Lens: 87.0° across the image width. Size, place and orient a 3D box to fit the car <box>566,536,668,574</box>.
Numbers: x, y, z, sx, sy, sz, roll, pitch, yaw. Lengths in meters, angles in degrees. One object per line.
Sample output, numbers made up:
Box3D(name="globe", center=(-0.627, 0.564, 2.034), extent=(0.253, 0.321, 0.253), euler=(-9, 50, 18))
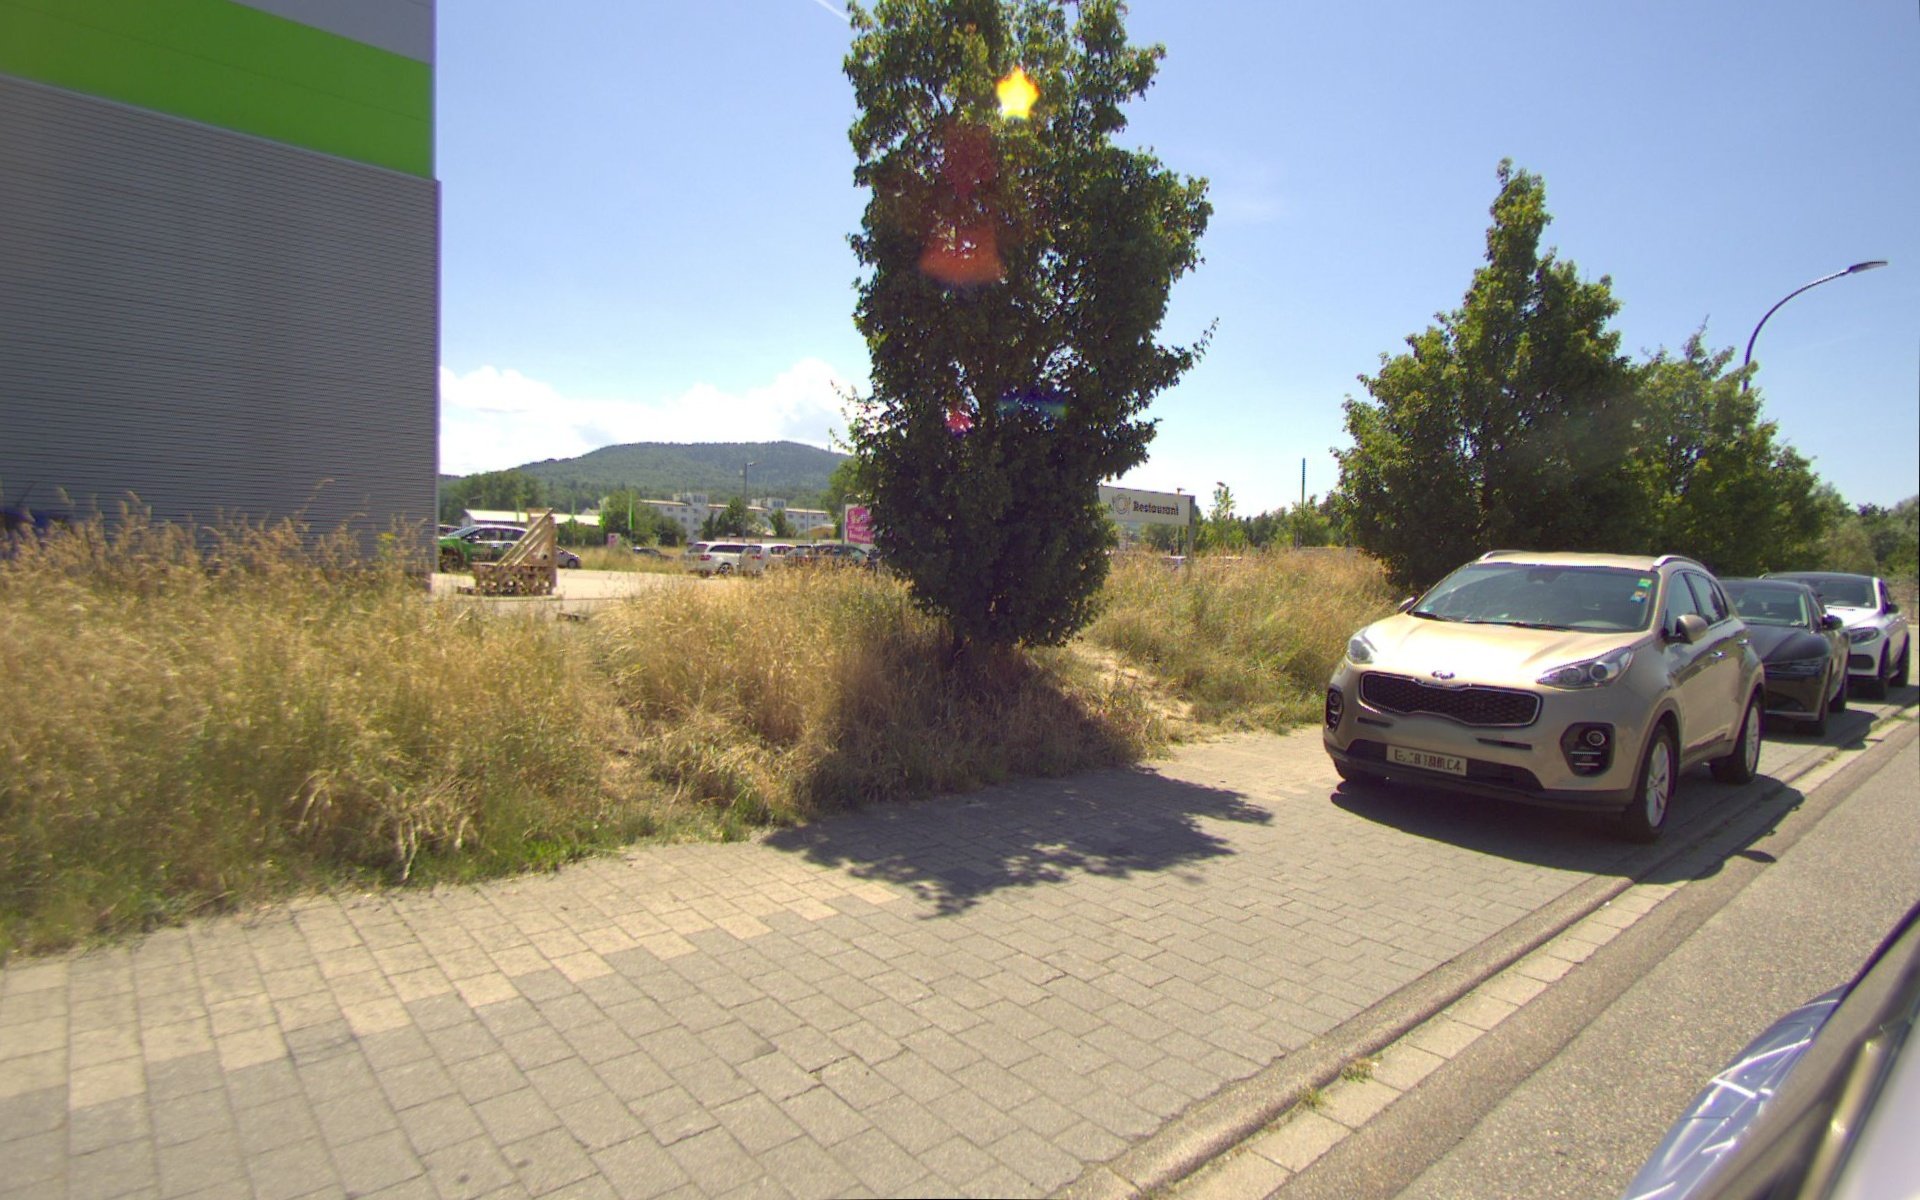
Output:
Box3D(name="car", center=(-16.868, -2.216, 49.850), extent=(4.325, 1.601, 1.997), euler=(1, 2, -42))

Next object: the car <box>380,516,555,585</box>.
Box3D(name="car", center=(-14.794, -1.470, 30.495), extent=(4.325, 1.808, 1.997), euler=(1, 2, -42))

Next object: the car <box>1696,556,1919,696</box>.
Box3D(name="car", center=(13.140, 0.287, 15.385), extent=(4.703, 1.719, 2.148), euler=(-1, 4, -42))

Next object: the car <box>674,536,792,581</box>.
Box3D(name="car", center=(-9.343, -1.712, 41.857), extent=(4.325, 1.601, 1.997), euler=(1, 2, -42))

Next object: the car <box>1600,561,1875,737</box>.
Box3D(name="car", center=(9.081, 0.400, 11.658), extent=(1.905, 1.547, 4.556), euler=(5, 4, 44))

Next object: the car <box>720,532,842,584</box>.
Box3D(name="car", center=(-7.098, -1.665, 40.372), extent=(4.325, 1.808, 1.997), euler=(1, 2, -42))

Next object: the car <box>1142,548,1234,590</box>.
Box3D(name="car", center=(10.533, -1.428, 46.571), extent=(4.326, 1.808, 1.936), euler=(-2, 4, -42))

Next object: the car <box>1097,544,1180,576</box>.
Box3D(name="car", center=(10.174, -2.269, 57.505), extent=(4.664, 1.685, 2.000), euler=(-1, 4, -38))

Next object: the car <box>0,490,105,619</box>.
Box3D(name="car", center=(-12.797, -0.573, 11.770), extent=(4.325, 1.517, 1.997), euler=(-1, 3, -42))

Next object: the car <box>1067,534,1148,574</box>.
Box3D(name="car", center=(8.699, -2.691, 59.564), extent=(4.664, 2.270, 2.000), euler=(-1, 3, -38))

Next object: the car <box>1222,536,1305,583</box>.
Box3D(name="car", center=(14.911, -2.000, 49.639), extent=(4.328, 2.170, 1.950), euler=(-2, 4, -43))

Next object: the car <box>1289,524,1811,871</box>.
Box3D(name="car", center=(4.291, 0.407, 7.027), extent=(4.381, 1.655, 1.808), euler=(-1, 4, -42))

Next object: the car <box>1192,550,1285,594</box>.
Box3D(name="car", center=(12.267, -1.269, 44.397), extent=(4.328, 1.808, 1.950), euler=(-2, 4, -43))

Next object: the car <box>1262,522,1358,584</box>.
Box3D(name="car", center=(16.560, -2.212, 47.828), extent=(4.664, 2.776, 2.000), euler=(-1, 3, -38))
